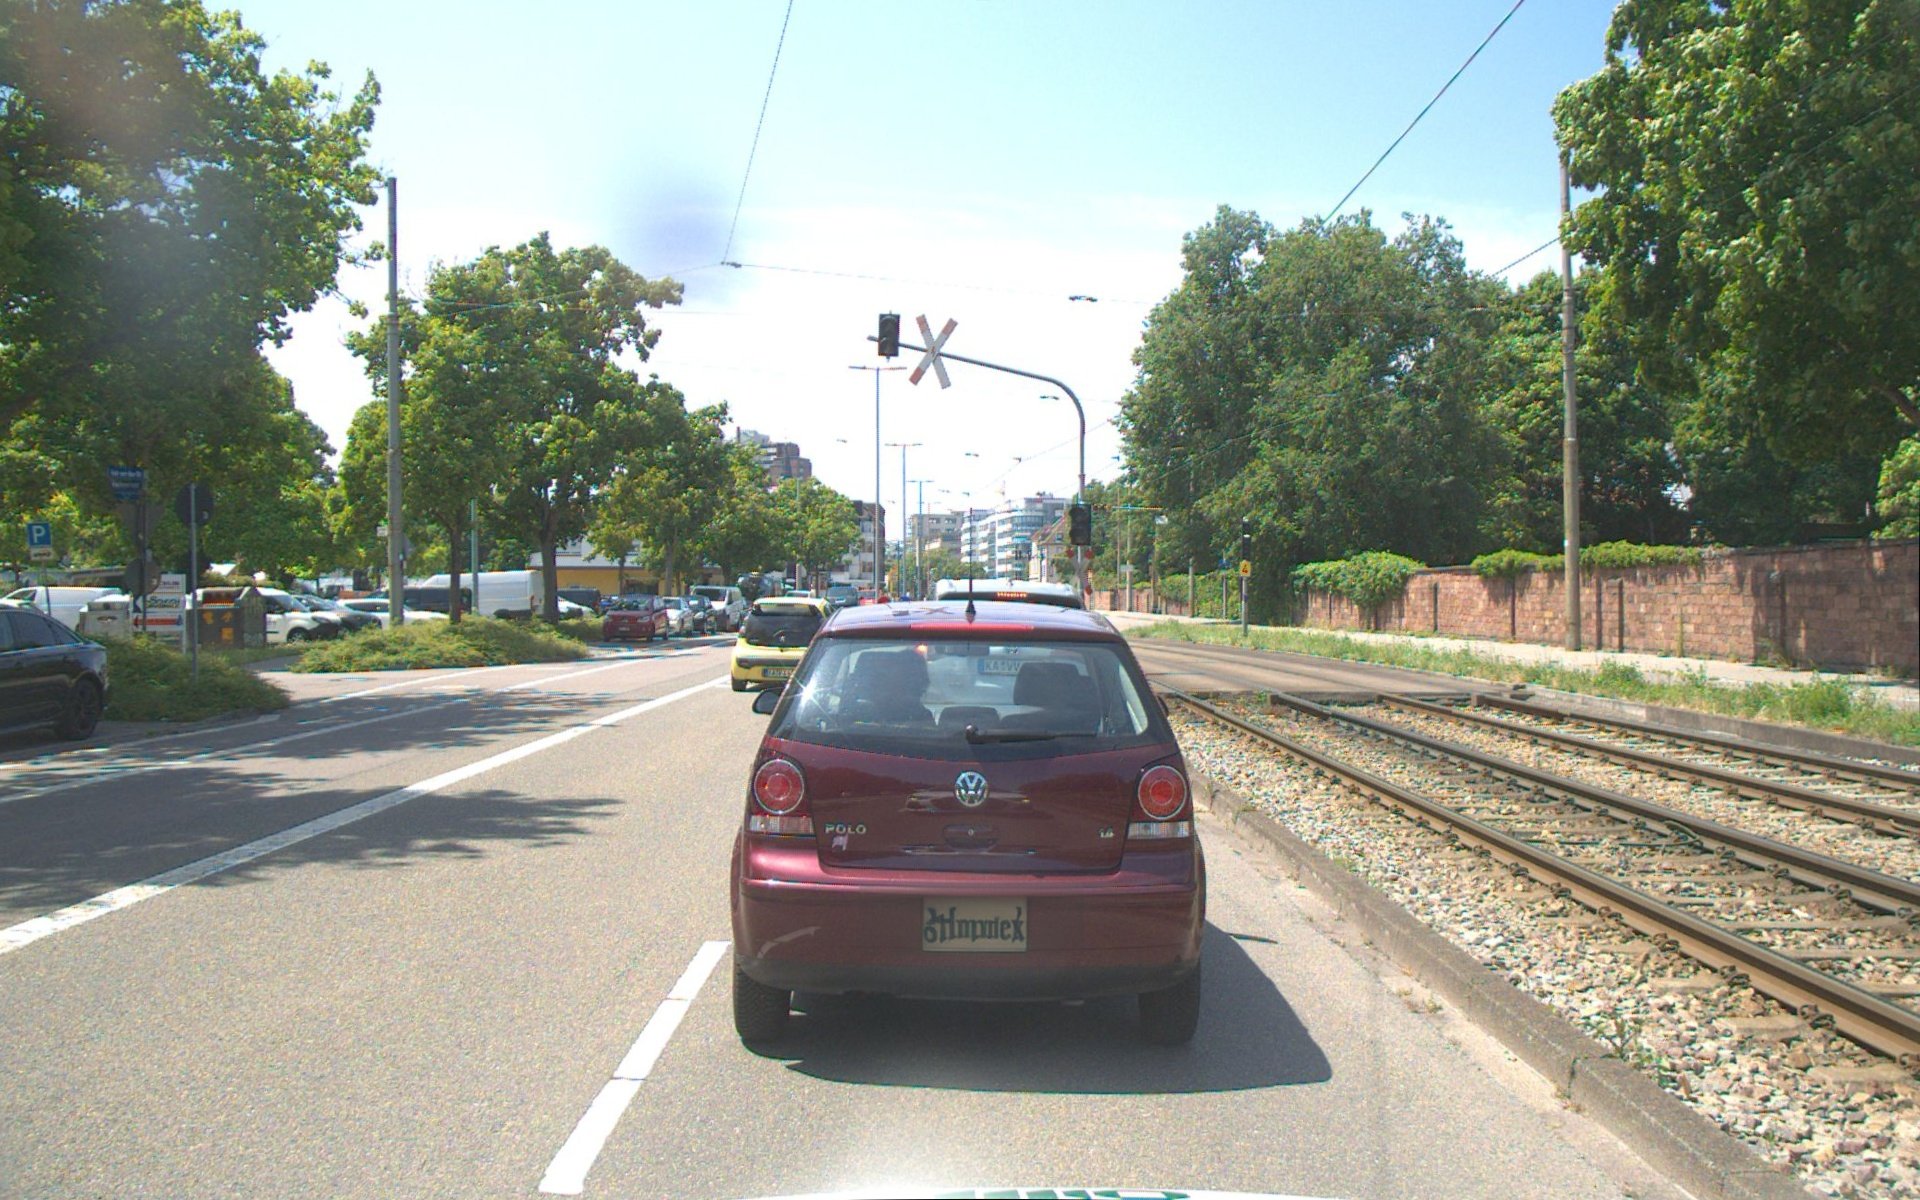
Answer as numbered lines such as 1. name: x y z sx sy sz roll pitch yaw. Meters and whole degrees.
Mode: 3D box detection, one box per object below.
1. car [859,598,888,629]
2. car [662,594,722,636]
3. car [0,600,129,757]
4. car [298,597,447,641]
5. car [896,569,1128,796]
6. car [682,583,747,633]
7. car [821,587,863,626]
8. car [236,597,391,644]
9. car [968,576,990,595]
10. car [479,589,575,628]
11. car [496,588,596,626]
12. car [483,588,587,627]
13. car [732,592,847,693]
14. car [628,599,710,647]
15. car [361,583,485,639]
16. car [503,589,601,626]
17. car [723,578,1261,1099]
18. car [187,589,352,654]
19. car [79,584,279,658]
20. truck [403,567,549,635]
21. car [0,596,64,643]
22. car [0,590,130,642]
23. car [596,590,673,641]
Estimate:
1. car: -5.832 0.887 111.635 1.861 1.959 4.818 -1 0 -2
2. car: -10.619 0.570 65.704 1.581 1.510 3.785 3 0 2
3. car: -10.221 0.759 16.261 1.856 1.482 4.807 1 0 -3
4. car: -21.230 0.661 59.945 4.665 1.514 2.057 -1 0 -2
5. car: 0.371 0.624 14.709 1.759 1.712 3.999 1 0 -1
6. car: -10.514 0.312 71.066 1.824 1.971 4.806 3 0 2
7. car: -6.171 0.328 87.053 1.879 1.944 4.570 -1 0 -1
8. car: -20.349 0.627 52.210 4.113 1.428 2.079 -1 0 -5
9. car: 2.041 -1.568 177.100 1.881 1.944 4.566 -1 0 -5
10. car: -20.699 0.408 79.218 4.125 1.796 1.856 -1 0 -2
11. car: -20.922 0.347 83.751 4.623 1.845 1.796 -1 0 -2
12. car: -20.928 0.365 81.555 4.623 1.845 1.796 -1 0 -2
13. car: -2.662 0.628 26.422 1.520 1.473 3.411 1 0 -1
14. car: -10.646 0.802 60.805 1.683 1.451 4.774 -6 0 5
15. car: -20.382 0.408 62.882 4.125 2.030 1.856 -1 0 -2
16. car: -21.163 0.369 85.928 4.623 1.845 1.796 -1 0 -2
17. car: 0.069 0.701 6.907 1.577 1.524 3.999 1 0 -1
18. car: -20.449 0.622 49.053 4.178 1.867 1.673 -1 0 1
19. car: -20.879 0.550 44.382 4.361 1.889 2.059 -1 0 -5
20. truck: -20.613 0.021 70.558 5.463 2.808 2.432 -1 0 0
21. car: -33.703 0.677 57.918 3.670 1.603 1.732 0 0 -1
22. car: -32.852 0.576 60.401 4.044 1.852 1.970 0 0 -1
23. car: -10.555 0.503 53.798 1.637 1.573 3.727 1 0 2
